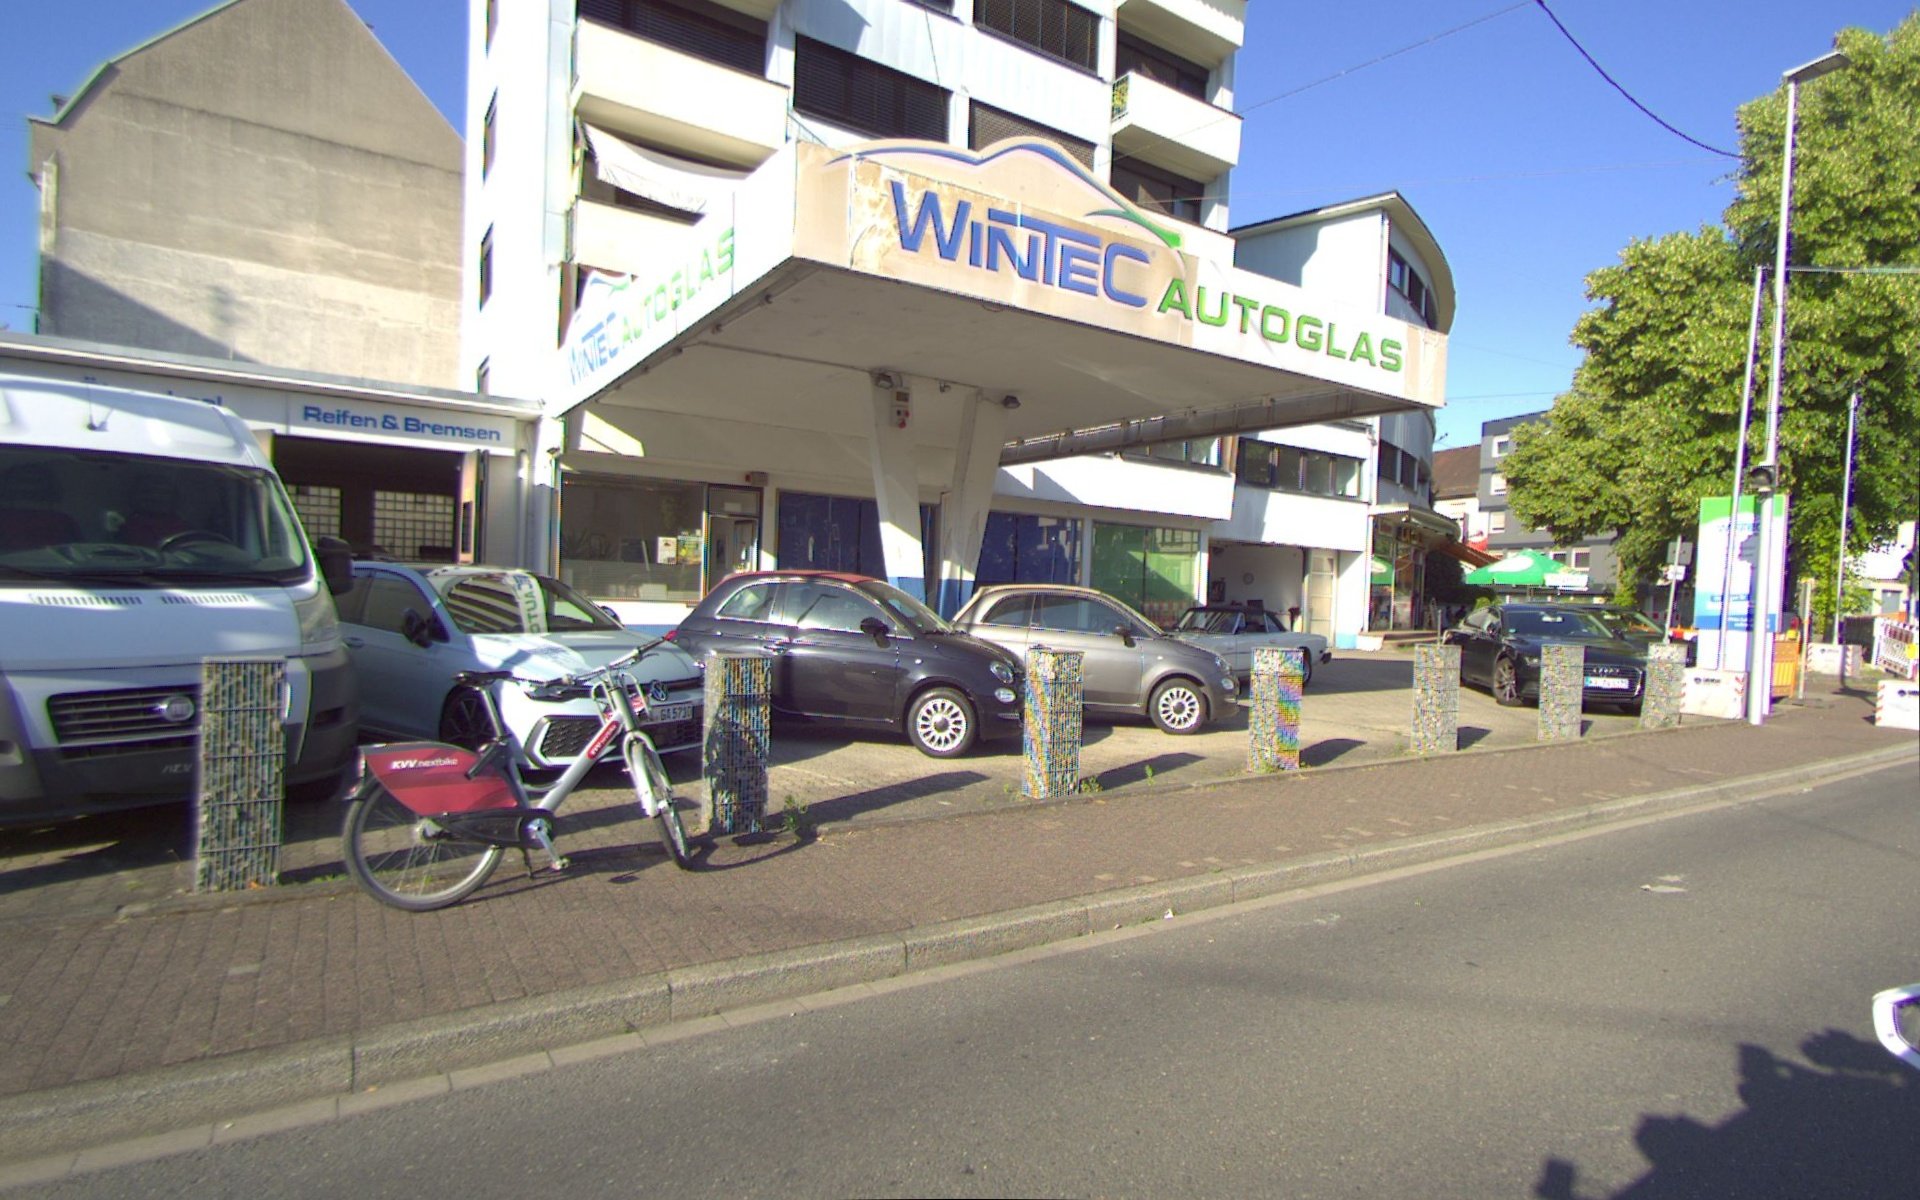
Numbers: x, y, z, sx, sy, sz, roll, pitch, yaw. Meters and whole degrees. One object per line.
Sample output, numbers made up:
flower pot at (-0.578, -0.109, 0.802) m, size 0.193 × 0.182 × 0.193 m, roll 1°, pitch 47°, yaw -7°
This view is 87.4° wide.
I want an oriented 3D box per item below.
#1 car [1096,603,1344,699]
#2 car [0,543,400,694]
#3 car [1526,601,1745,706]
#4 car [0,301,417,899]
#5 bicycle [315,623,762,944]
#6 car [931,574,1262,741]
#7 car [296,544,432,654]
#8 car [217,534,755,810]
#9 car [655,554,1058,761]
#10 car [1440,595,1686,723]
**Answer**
car at (4.196, 0.716, 15.921) m, size 4.100 × 1.301 × 1.575 m, roll 0°, pitch 1°, yaw -37°
car at (-9.359, 0.188, 12.293) m, size 4.270 × 1.589 × 1.756 m, roll 1°, pitch 2°, yaw -34°
car at (11.845, 0.841, 17.988) m, size 1.617 × 1.474 × 4.301 m, roll 2°, pitch 2°, yaw 10°
car at (-5.645, -0.088, 6.194) m, size 4.990 × 2.502 × 2.101 m, roll 3°, pitch 1°, yaw 37°
bicycle at (-1.897, 0.724, 4.684) m, size 1.767 × 1.193 × 0.716 m, roll 1°, pitch 1°, yaw -42°
car at (1.470, 0.574, 11.178) m, size 3.325 × 1.589 × 1.623 m, roll 2°, pitch 1°, yaw 7°
car at (-10.798, -0.103, 18.049) m, size 1.755 × 1.733 × 4.271 m, roll 1°, pitch 2°, yaw -36°
car at (-3.695, 0.363, 7.710) m, size 3.927 × 1.589 × 1.770 m, roll 3°, pitch 2°, yaw 29°
car at (-0.865, 0.450, 9.277) m, size 3.325 × 1.589 × 1.623 m, roll 2°, pitch 1°, yaw 11°
car at (8.662, 0.730, 14.915) m, size 1.872 × 1.474 × 4.314 m, roll 3°, pitch 2°, yaw 14°
